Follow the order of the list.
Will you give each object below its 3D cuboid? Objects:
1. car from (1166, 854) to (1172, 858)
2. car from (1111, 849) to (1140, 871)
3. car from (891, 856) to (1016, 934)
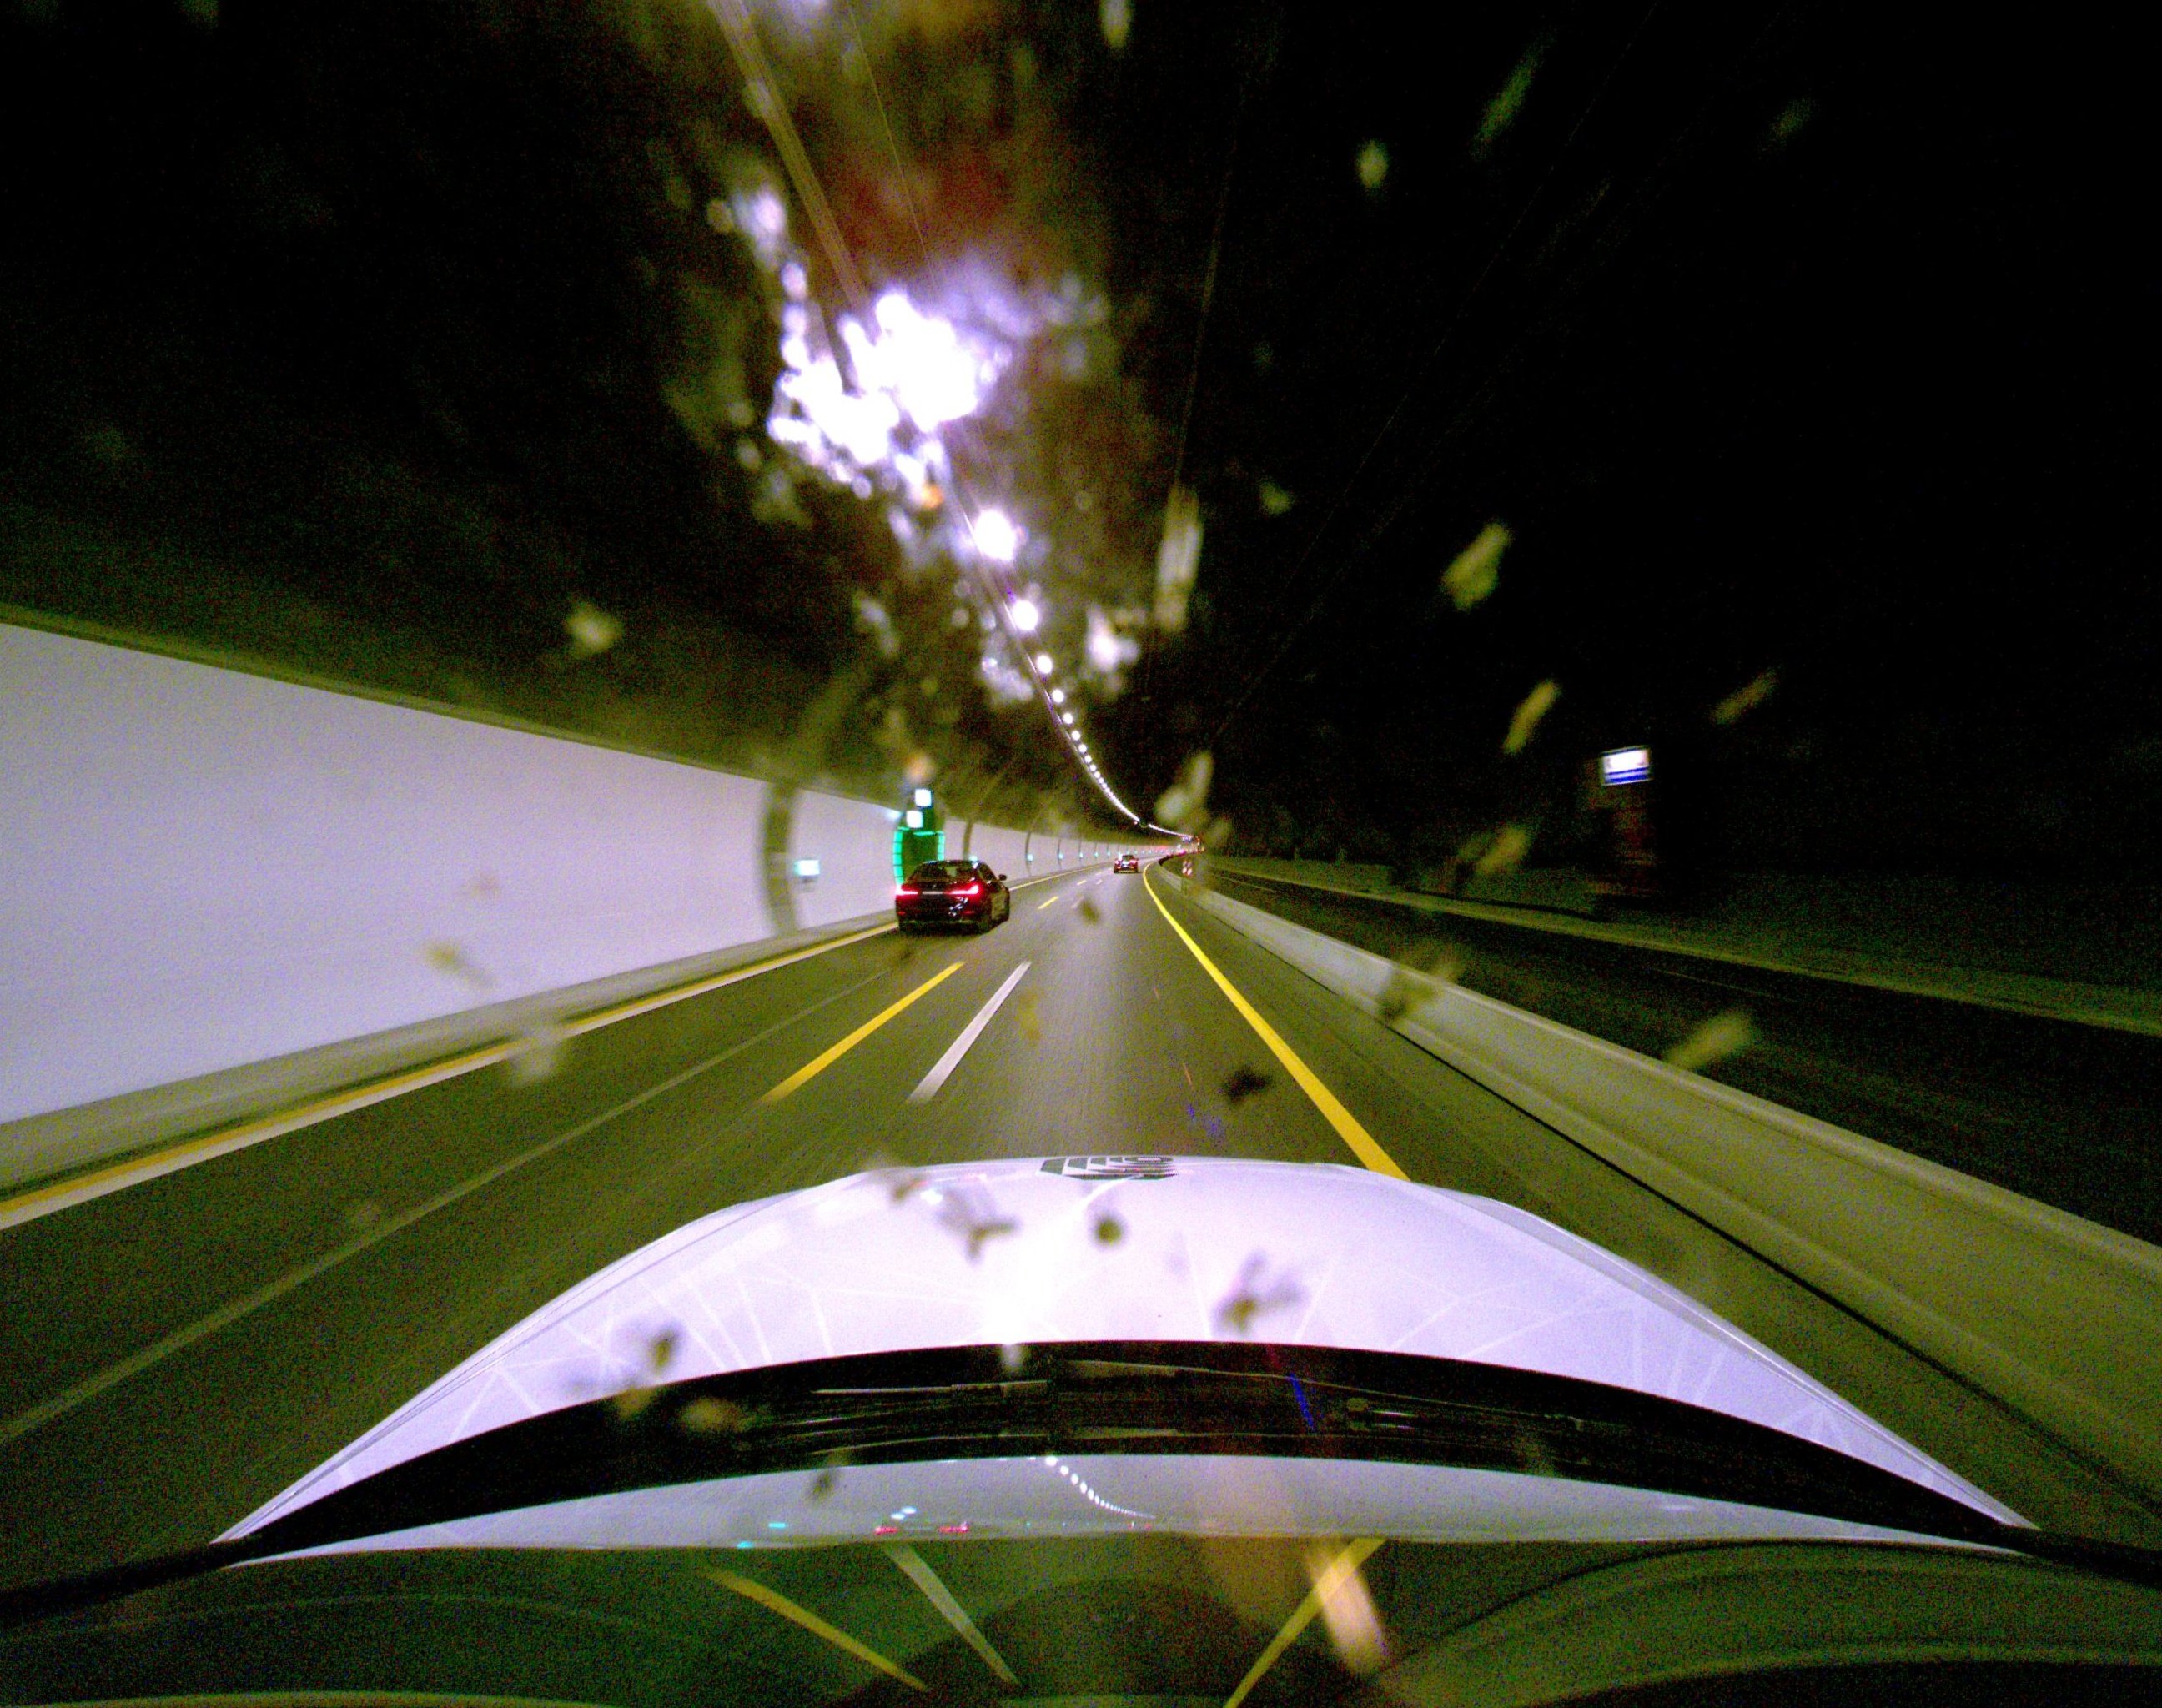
[{"bbox_3d":[24.213,0.552,224.681,1.587,1.333,3.757,-1,0,6],"label":"car"},{"bbox_3d":[3.513,0.449,63.886,2.131,1.706,4.005,-1,0,5],"label":"car"},{"bbox_3d":[-2.613,0.787,17.878,1.771,1.438,4.886,0,0,2],"label":"car"}]
